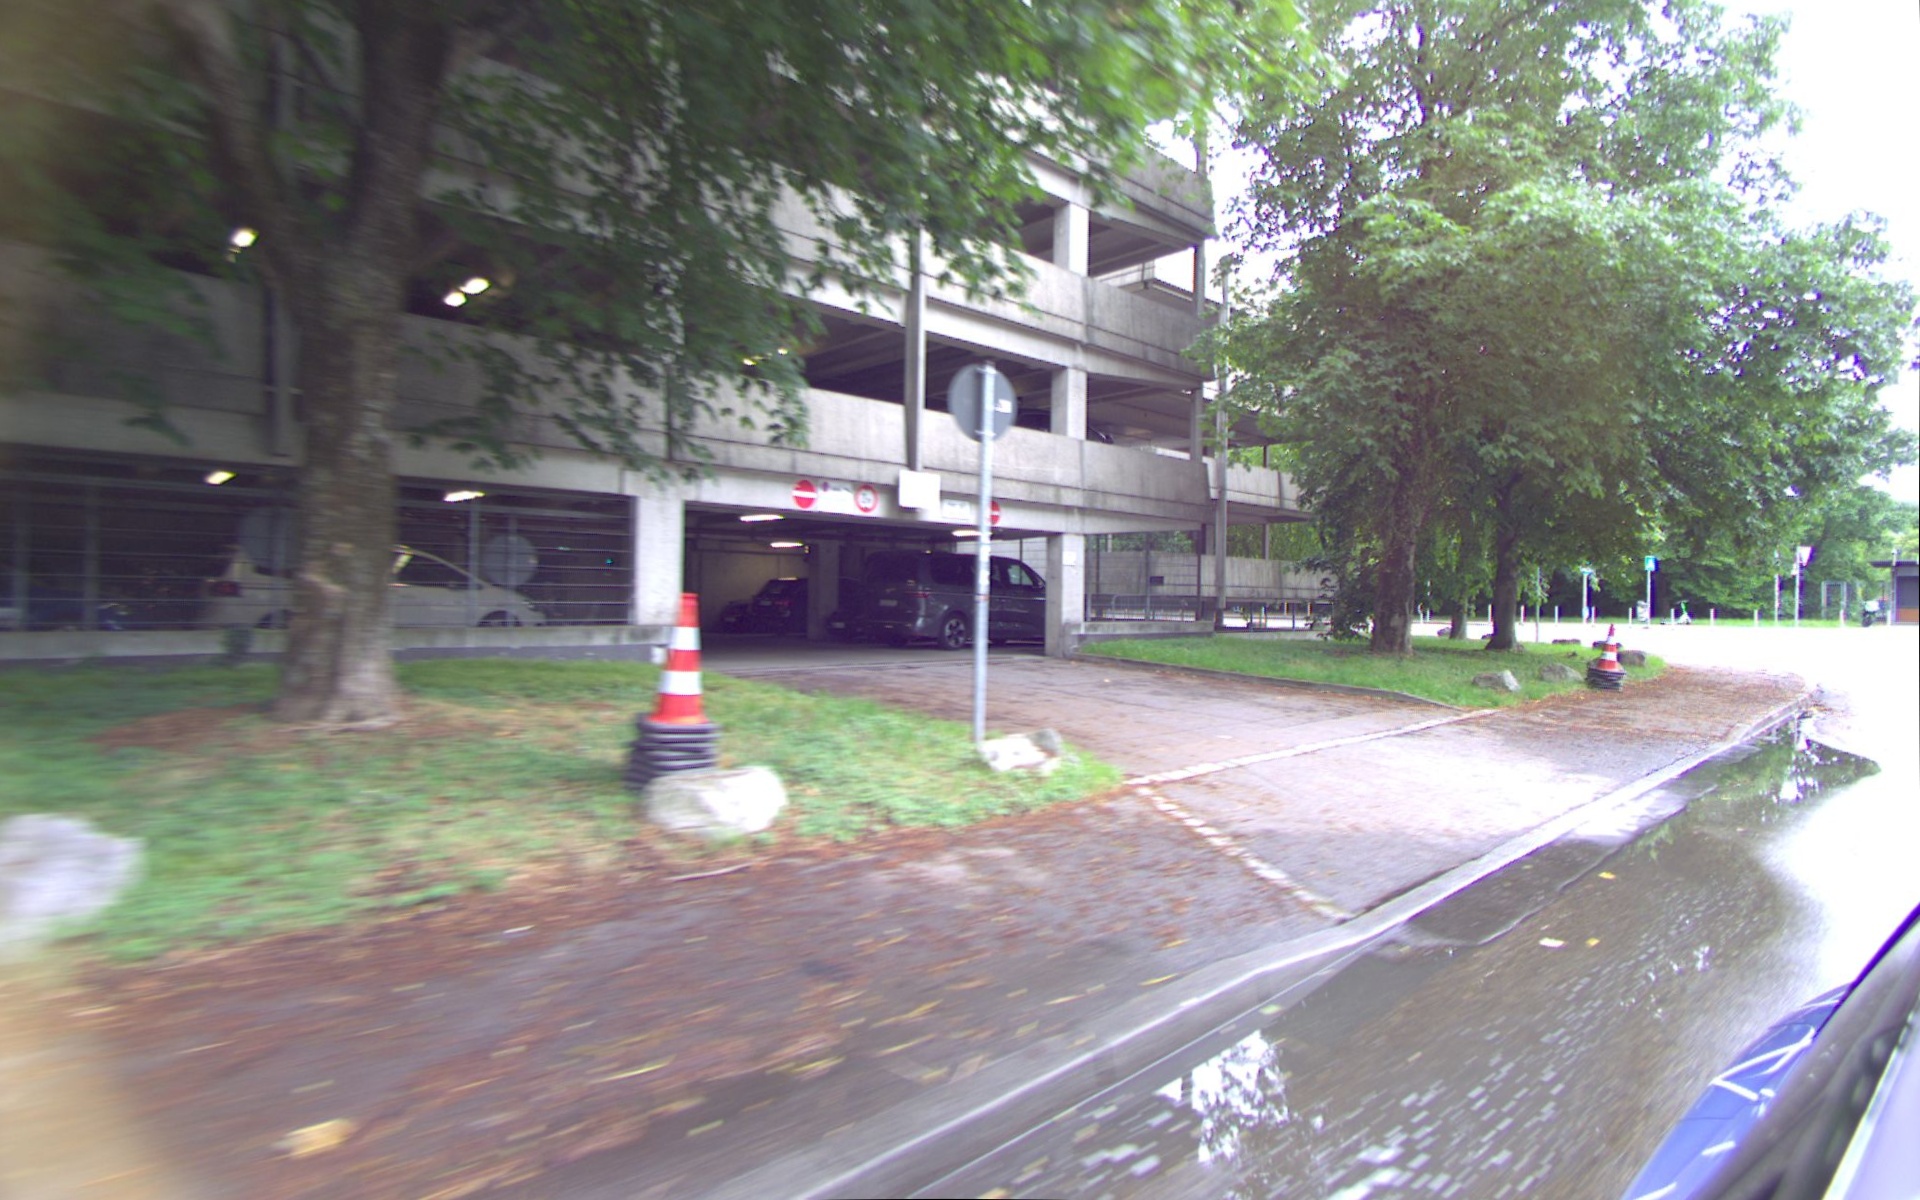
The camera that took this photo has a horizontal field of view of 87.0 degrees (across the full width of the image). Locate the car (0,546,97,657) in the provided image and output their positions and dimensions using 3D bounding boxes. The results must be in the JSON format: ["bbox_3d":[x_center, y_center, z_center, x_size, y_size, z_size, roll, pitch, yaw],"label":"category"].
[{"bbox_3d":[-14.591,0.034,14.212,1.717,1.565,3.642,0,1,45],"label":"car"}]

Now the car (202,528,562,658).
[{"bbox_3d":[-8.736,-0.135,15.614,4.591,1.730,1.587,-1,1,-44],"label":"car"}]

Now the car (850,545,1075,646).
[{"bbox_3d":[0.167,-0.073,20.878,4.657,1.858,1.920,0,0,-44],"label":"car"}]

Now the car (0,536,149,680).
[{"bbox_3d":[-12.371,0.103,12.316,3.794,1.730,1.587,-1,1,-44],"label":"car"}]

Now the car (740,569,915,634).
[{"bbox_3d":[-3.227,-0.004,25.003,3.930,1.471,1.875,-1,1,-41],"label":"car"}]

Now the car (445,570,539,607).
[{"bbox_3d":[-19.016,-0.475,41.203,1.509,1.446,3.154,0,1,45],"label":"car"}]

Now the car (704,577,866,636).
[{"bbox_3d":[-4.679,0.135,27.356,3.930,1.471,1.875,-1,1,-41],"label":"car"}]

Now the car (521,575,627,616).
[{"bbox_3d":[-13.586,-0.191,35.686,1.509,1.377,3.154,0,1,45],"label":"car"}]
